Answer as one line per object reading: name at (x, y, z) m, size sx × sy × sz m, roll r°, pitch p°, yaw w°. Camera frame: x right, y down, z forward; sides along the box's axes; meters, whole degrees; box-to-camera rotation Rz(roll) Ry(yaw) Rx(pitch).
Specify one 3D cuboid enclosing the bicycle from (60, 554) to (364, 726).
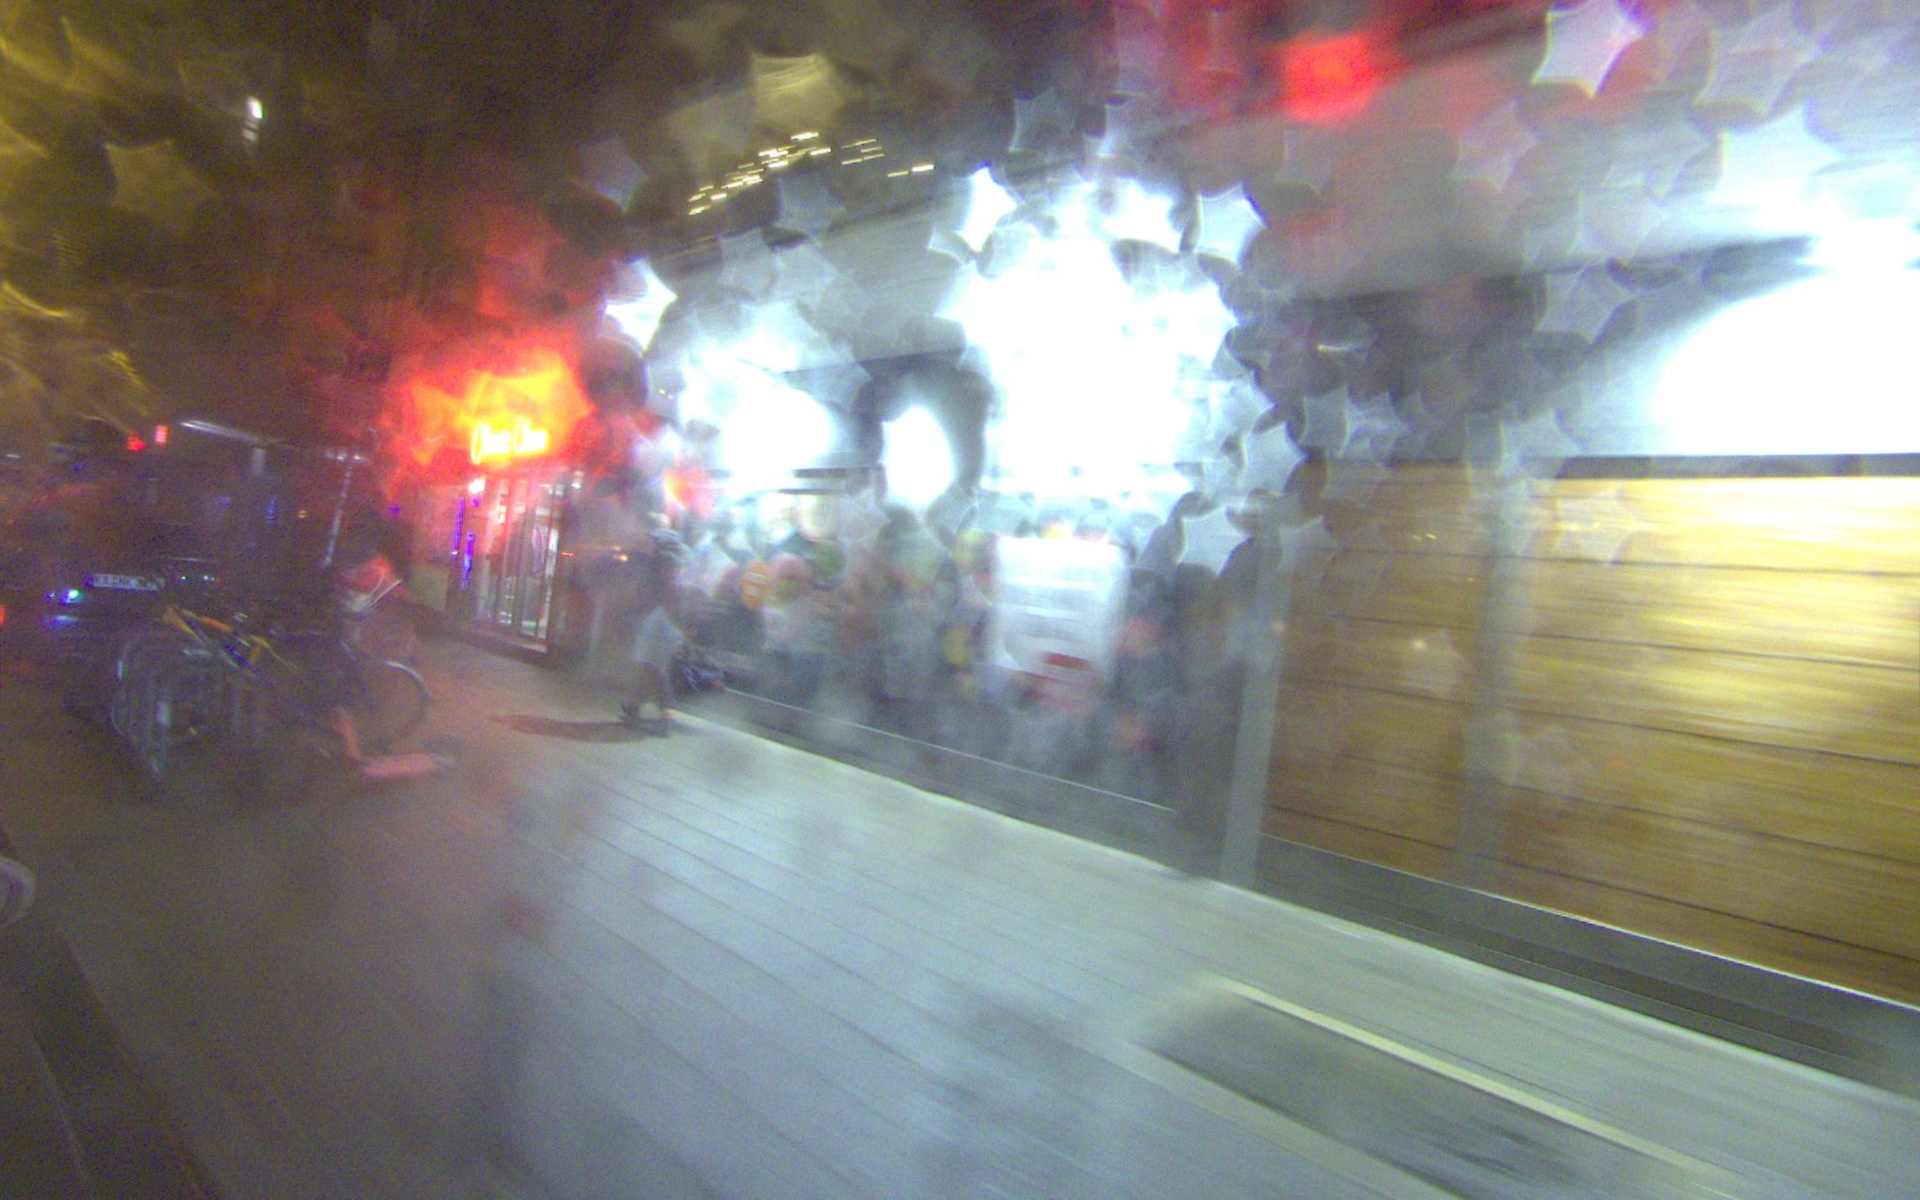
bicycle at (-5.552, 0.291, 7.563) m, size 0.429 × 1.140 × 1.756 m, roll 8°, pitch 4°, yaw 42°

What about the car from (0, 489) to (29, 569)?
car at (-20.896, -1.624, 21.225) m, size 3.376 × 1.561 × 1.589 m, roll 6°, pitch -2°, yaw 45°

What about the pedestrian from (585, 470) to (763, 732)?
pedestrian at (-2.628, 0.016, 9.248) m, size 0.957 × 2.236 × 1.051 m, roll 7°, pitch 1°, yaw 44°

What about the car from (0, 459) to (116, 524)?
car at (-37.984, -4.556, 41.976) m, size 1.974 × 2.038 × 3.978 m, roll 8°, pitch 0°, yaw 45°

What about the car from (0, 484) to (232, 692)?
car at (-8.767, -0.203, 9.893) m, size 4.099 × 1.583 × 1.750 m, roll 6°, pitch -2°, yaw 43°

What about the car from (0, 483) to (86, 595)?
car at (-16.332, -1.130, 17.075) m, size 3.937 × 1.626 × 1.750 m, roll 6°, pitch -2°, yaw 43°

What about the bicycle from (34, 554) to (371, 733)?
bicycle at (-5.215, 0.344, 7.036) m, size 0.429 × 1.092 × 1.759 m, roll 8°, pitch 0°, yaw 42°

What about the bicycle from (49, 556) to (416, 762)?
bicycle at (-4.577, 0.403, 6.456) m, size 0.430 × 1.139 × 1.779 m, roll 8°, pitch 1°, yaw 42°

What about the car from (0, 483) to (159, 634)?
car at (-11.991, -0.620, 13.087) m, size 4.340 × 1.555 × 1.750 m, roll 6°, pitch -2°, yaw 43°
